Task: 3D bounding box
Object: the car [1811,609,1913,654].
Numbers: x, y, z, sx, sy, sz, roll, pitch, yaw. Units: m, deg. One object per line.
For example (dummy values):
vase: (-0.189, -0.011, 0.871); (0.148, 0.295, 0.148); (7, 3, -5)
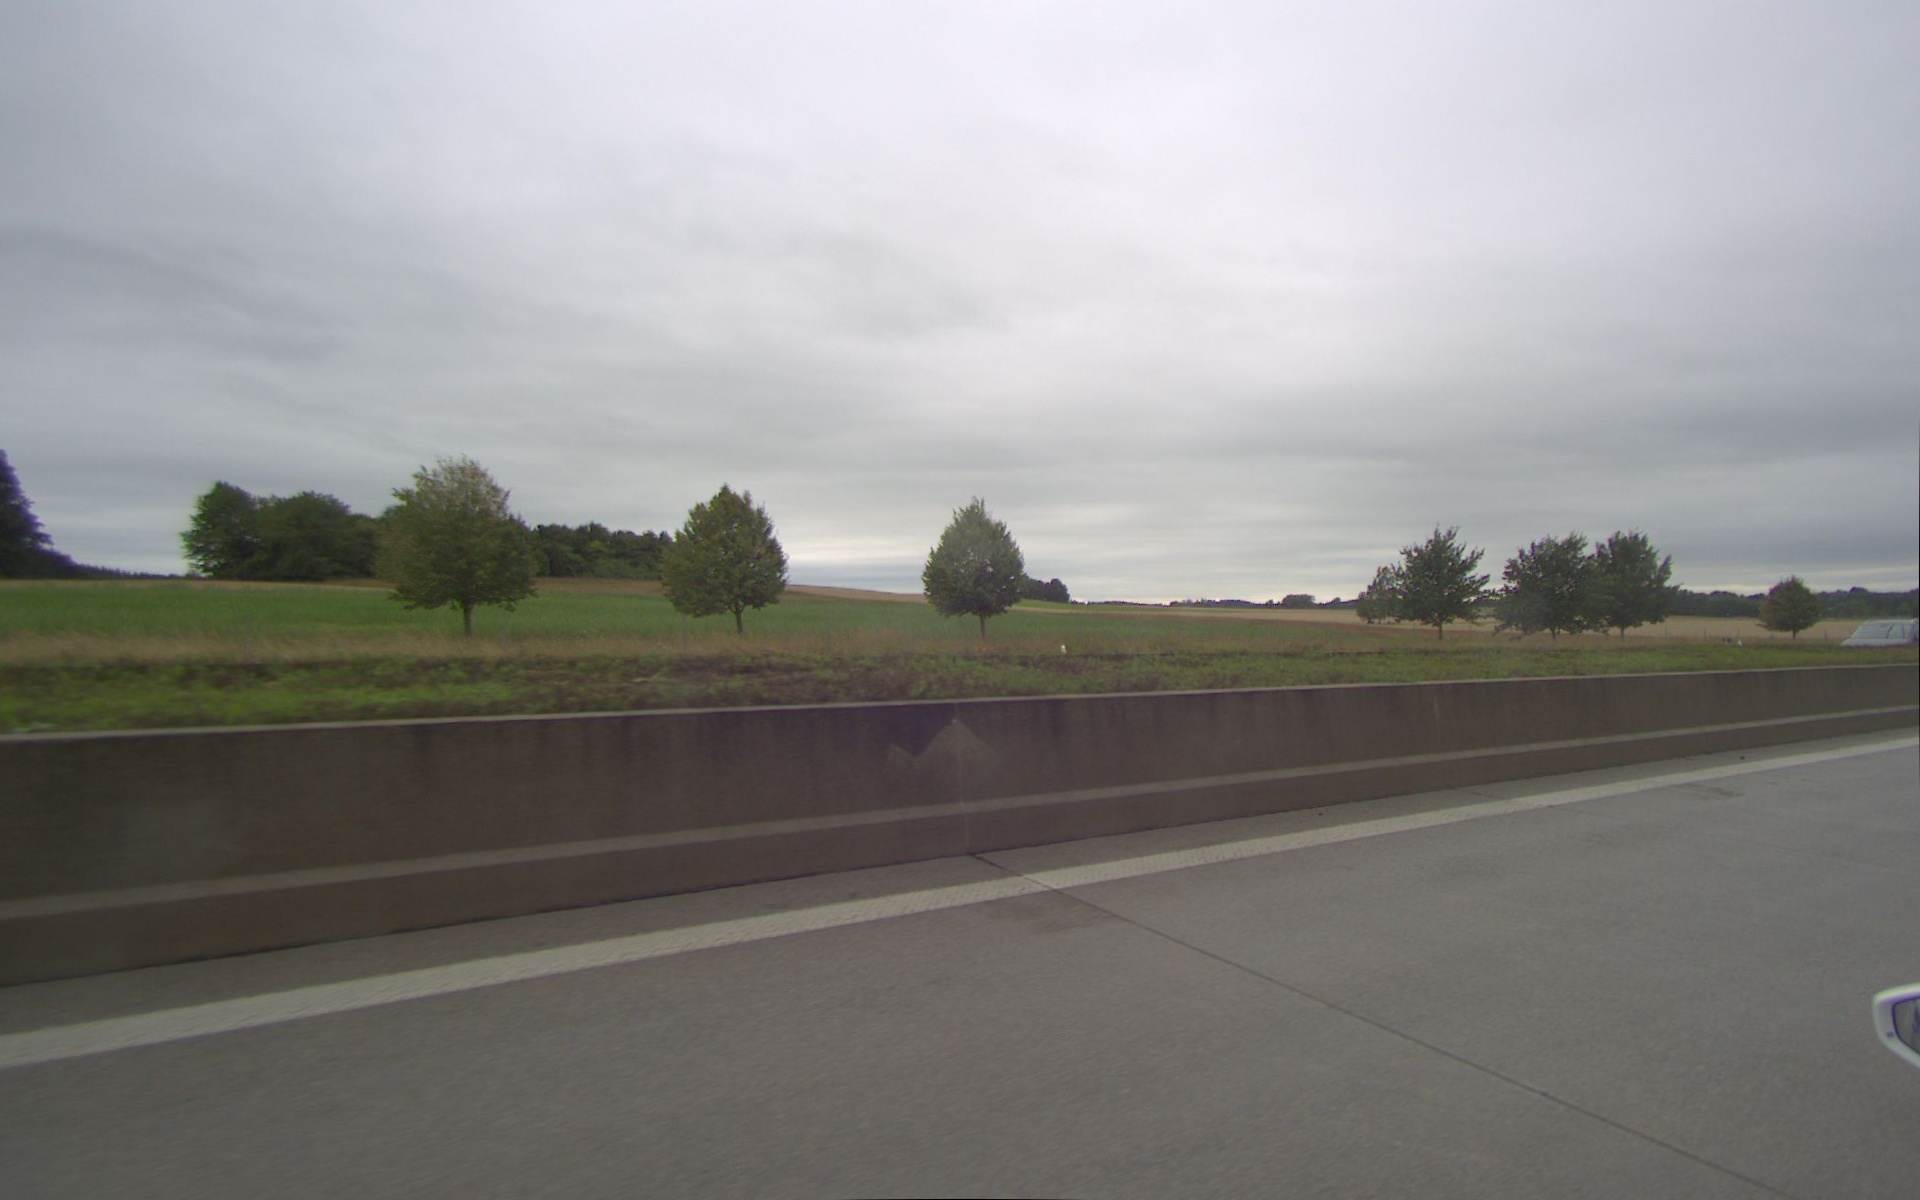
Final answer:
car: (31.443, 1.083, 34.993); (4.022, 1.417, 1.662); (1, 1, -33)
